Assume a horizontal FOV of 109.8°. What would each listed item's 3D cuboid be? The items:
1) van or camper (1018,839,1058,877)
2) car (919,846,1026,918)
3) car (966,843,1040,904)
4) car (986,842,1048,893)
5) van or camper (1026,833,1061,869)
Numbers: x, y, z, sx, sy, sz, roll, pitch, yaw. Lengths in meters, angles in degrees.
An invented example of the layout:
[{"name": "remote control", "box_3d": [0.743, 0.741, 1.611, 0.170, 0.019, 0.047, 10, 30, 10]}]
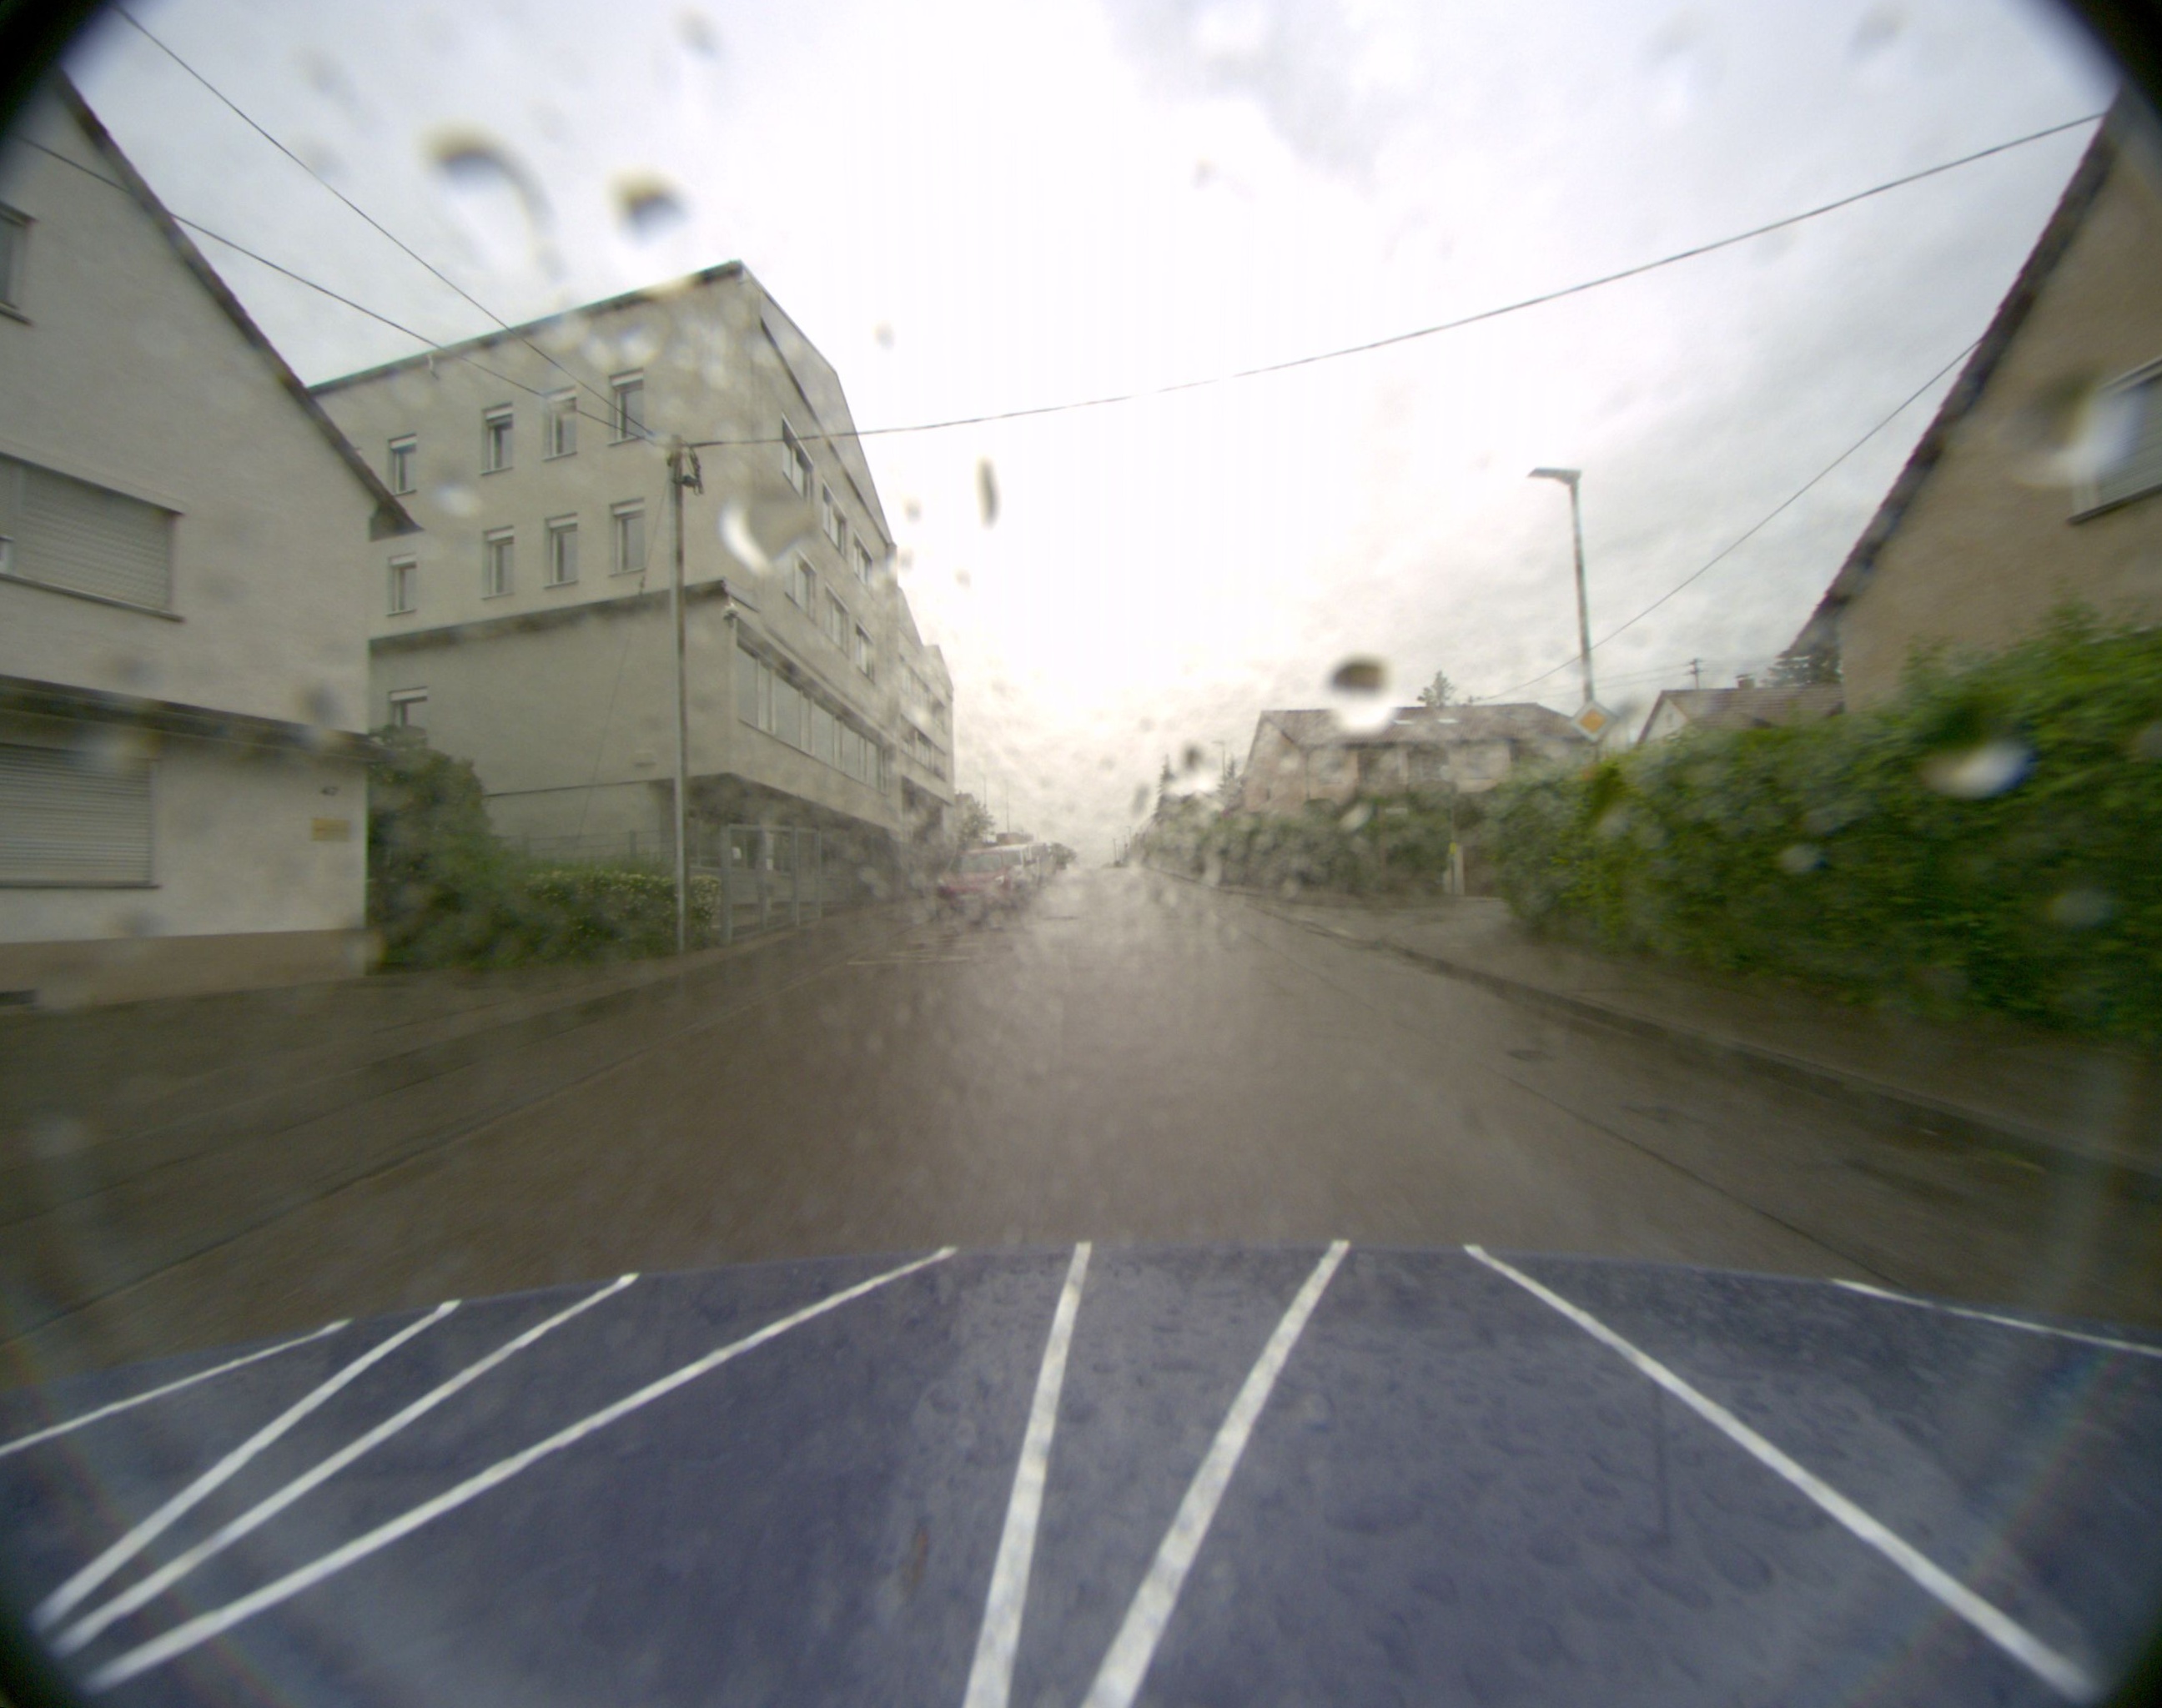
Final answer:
[{"name": "van or camper", "box_3d": [-2.484, 0.191, 44.950, 1.998, 2.101, 5.202, -1, 0, 0]}, {"name": "car", "box_3d": [-2.737, 0.632, 20.412, 1.998, 1.635, 4.958, -2, 1, 1]}, {"name": "car", "box_3d": [-2.532, 0.569, 25.639, 1.883, 1.823, 4.488, -2, 1, 1]}, {"name": "car", "box_3d": [-2.589, 0.487, 31.915, 1.998, 1.924, 4.975, -2, 1, 1]}, {"name": "van or camper", "box_3d": [-2.486, -0.199, 51.284, 1.998, 2.230, 5.440, -1, 0, 0]}]
